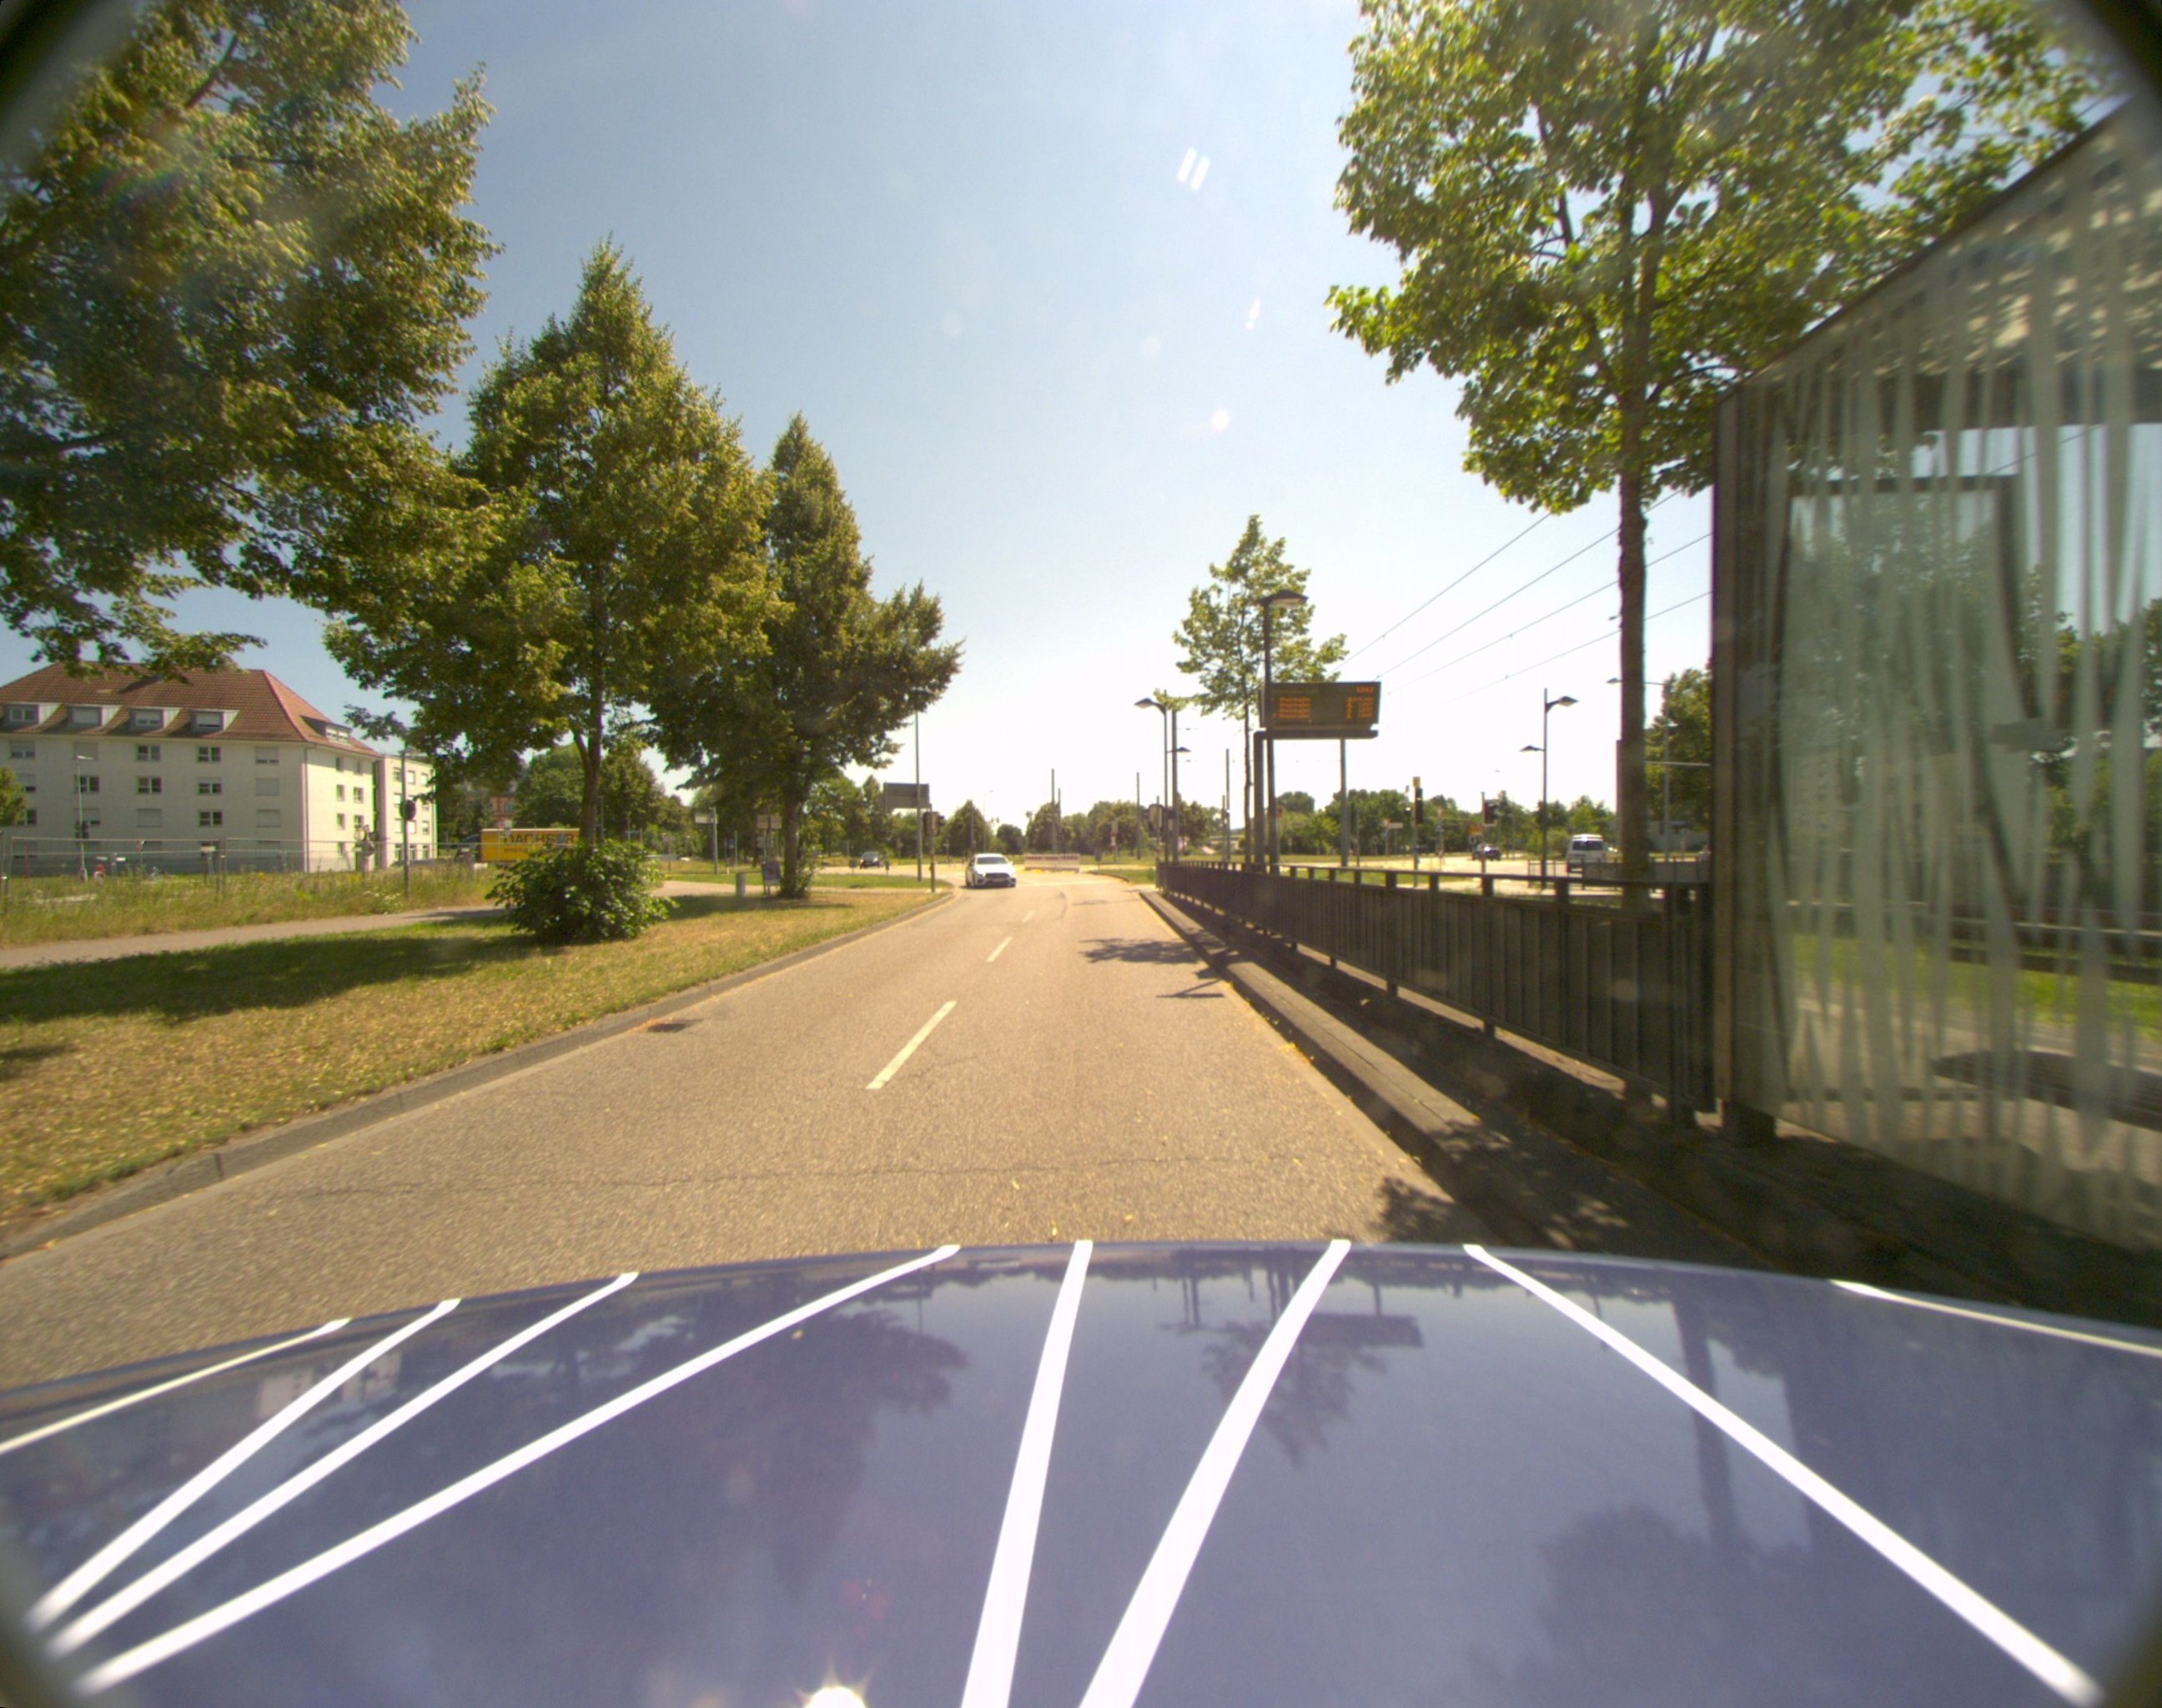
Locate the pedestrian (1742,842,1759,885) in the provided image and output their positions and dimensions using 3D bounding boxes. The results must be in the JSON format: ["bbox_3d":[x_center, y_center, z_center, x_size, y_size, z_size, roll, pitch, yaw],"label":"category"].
[{"bbox_3d":[27.242,0.382,30.904,0.291,1.729,0.449,-1,1,0],"label":"pedestrian"}]

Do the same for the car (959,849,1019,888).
[{"bbox_3d":[-4.077,0.620,33.042,1.783,1.536,3.957,-2,0,-18],"label":"car"}]

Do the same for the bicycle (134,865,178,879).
[{"bbox_3d":[-68.315,1.324,56.121,1.986,1.019,0.708,0,3,-12],"label":"bicycle"}]

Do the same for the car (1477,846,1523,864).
[{"bbox_3d":[38.051,0.042,69.189,1.997,1.509,5.841,-1,1,12],"label":"car"}]

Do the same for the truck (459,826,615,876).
[{"bbox_3d":[-41.884,-0.298,59.011,9.632,3.638,2.701,-1,1,-32],"label":"truck"}]

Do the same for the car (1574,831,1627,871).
[{"bbox_3d":[30.000,-0.158,43.813,1.995,2.093,5.554,-4,-2,39],"label":"car"}]

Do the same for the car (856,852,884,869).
[{"bbox_3d":[-18.237,0.519,65.682,1.981,1.410,3.993,-1,1,-20],"label":"car"}]
